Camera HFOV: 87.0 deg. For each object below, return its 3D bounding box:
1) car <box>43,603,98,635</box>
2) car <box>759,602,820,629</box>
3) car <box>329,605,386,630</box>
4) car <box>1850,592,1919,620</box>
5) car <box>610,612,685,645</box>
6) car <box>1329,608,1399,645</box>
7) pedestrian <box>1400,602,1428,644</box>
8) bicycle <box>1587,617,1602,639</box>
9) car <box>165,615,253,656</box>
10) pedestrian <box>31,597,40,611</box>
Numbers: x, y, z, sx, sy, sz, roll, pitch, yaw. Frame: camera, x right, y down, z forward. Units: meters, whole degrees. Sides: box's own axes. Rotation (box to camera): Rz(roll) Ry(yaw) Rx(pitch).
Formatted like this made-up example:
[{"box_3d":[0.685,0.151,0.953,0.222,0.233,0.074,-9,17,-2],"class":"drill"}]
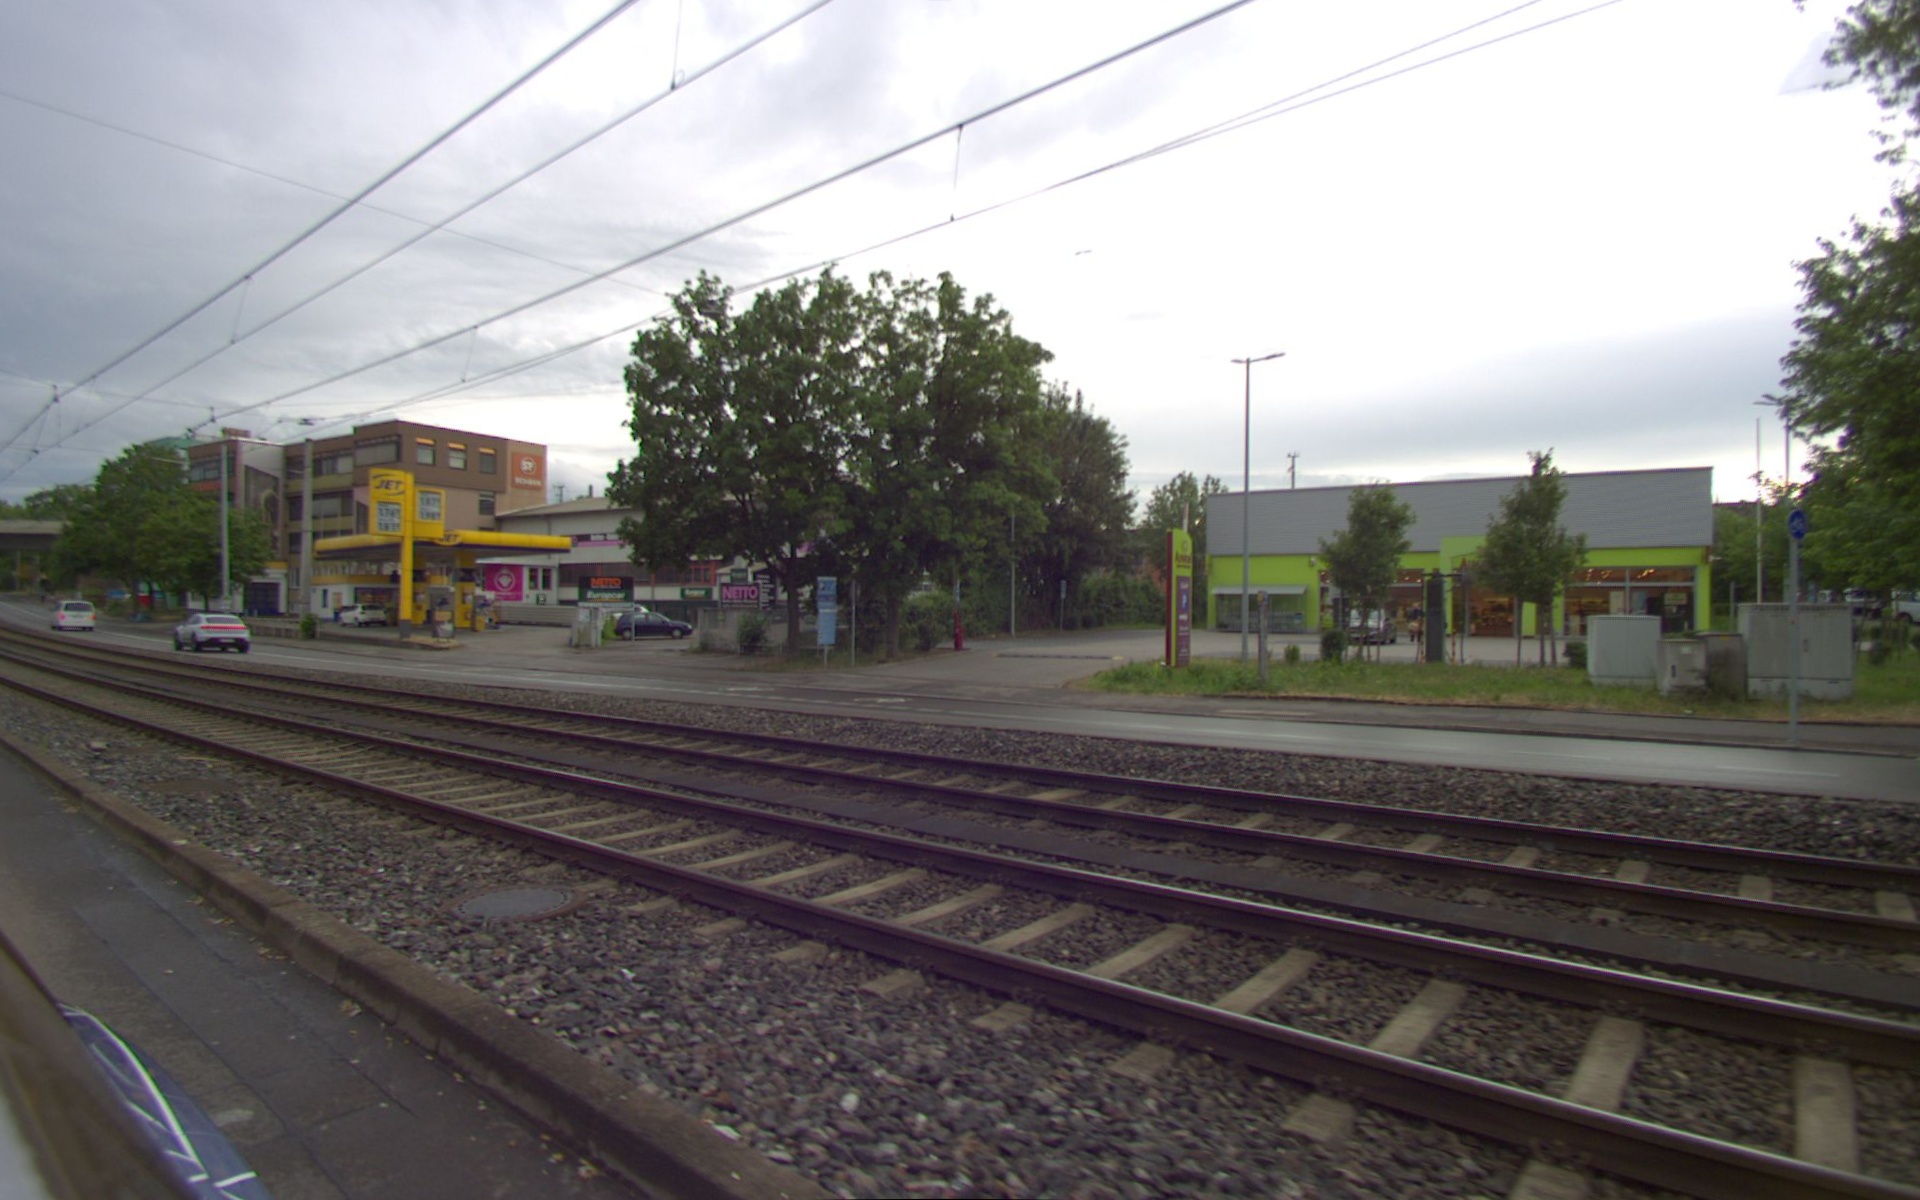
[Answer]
[{"box_3d":[-59.700,1.289,67.903,5.057,2.029,1.973,-1,-4,41],"class":"car"},{"box_3d":[-11.331,1.065,67.578,1.845,1.662,4.055,-1,-3,31],"class":"car"},{"box_3d":[-37.485,1.063,62.954,4.071,1.426,1.753,1,1,39],"class":"car"},{"box_3d":[54.523,0.355,58.879,1.555,1.494,3.747,1,-2,-23],"class":"car"},{"box_3d":[-16.061,1.451,52.110,3.541,1.600,1.707,0,1,-12],"class":"car"},{"box_3d":[15.954,1.017,39.833,1.770,1.355,4.329,0,0,33],"class":"car"},{"box_3d":[17.732,0.884,39.528,0.758,1.609,0.793,1,1,41],"class":"pedestrian"},{"box_3d":[28.770,1.261,45.885,0.532,0.989,1.597,-2,-1,32],"class":"bicycle"},{"box_3d":[-32.462,1.524,43.686,4.756,1.662,1.973,-1,-3,40],"class":"car"},{"box_3d":[-111.542,0.522,122.111,1.021,1.657,0.737,0,-1,43],"class":"pedestrian"}]
